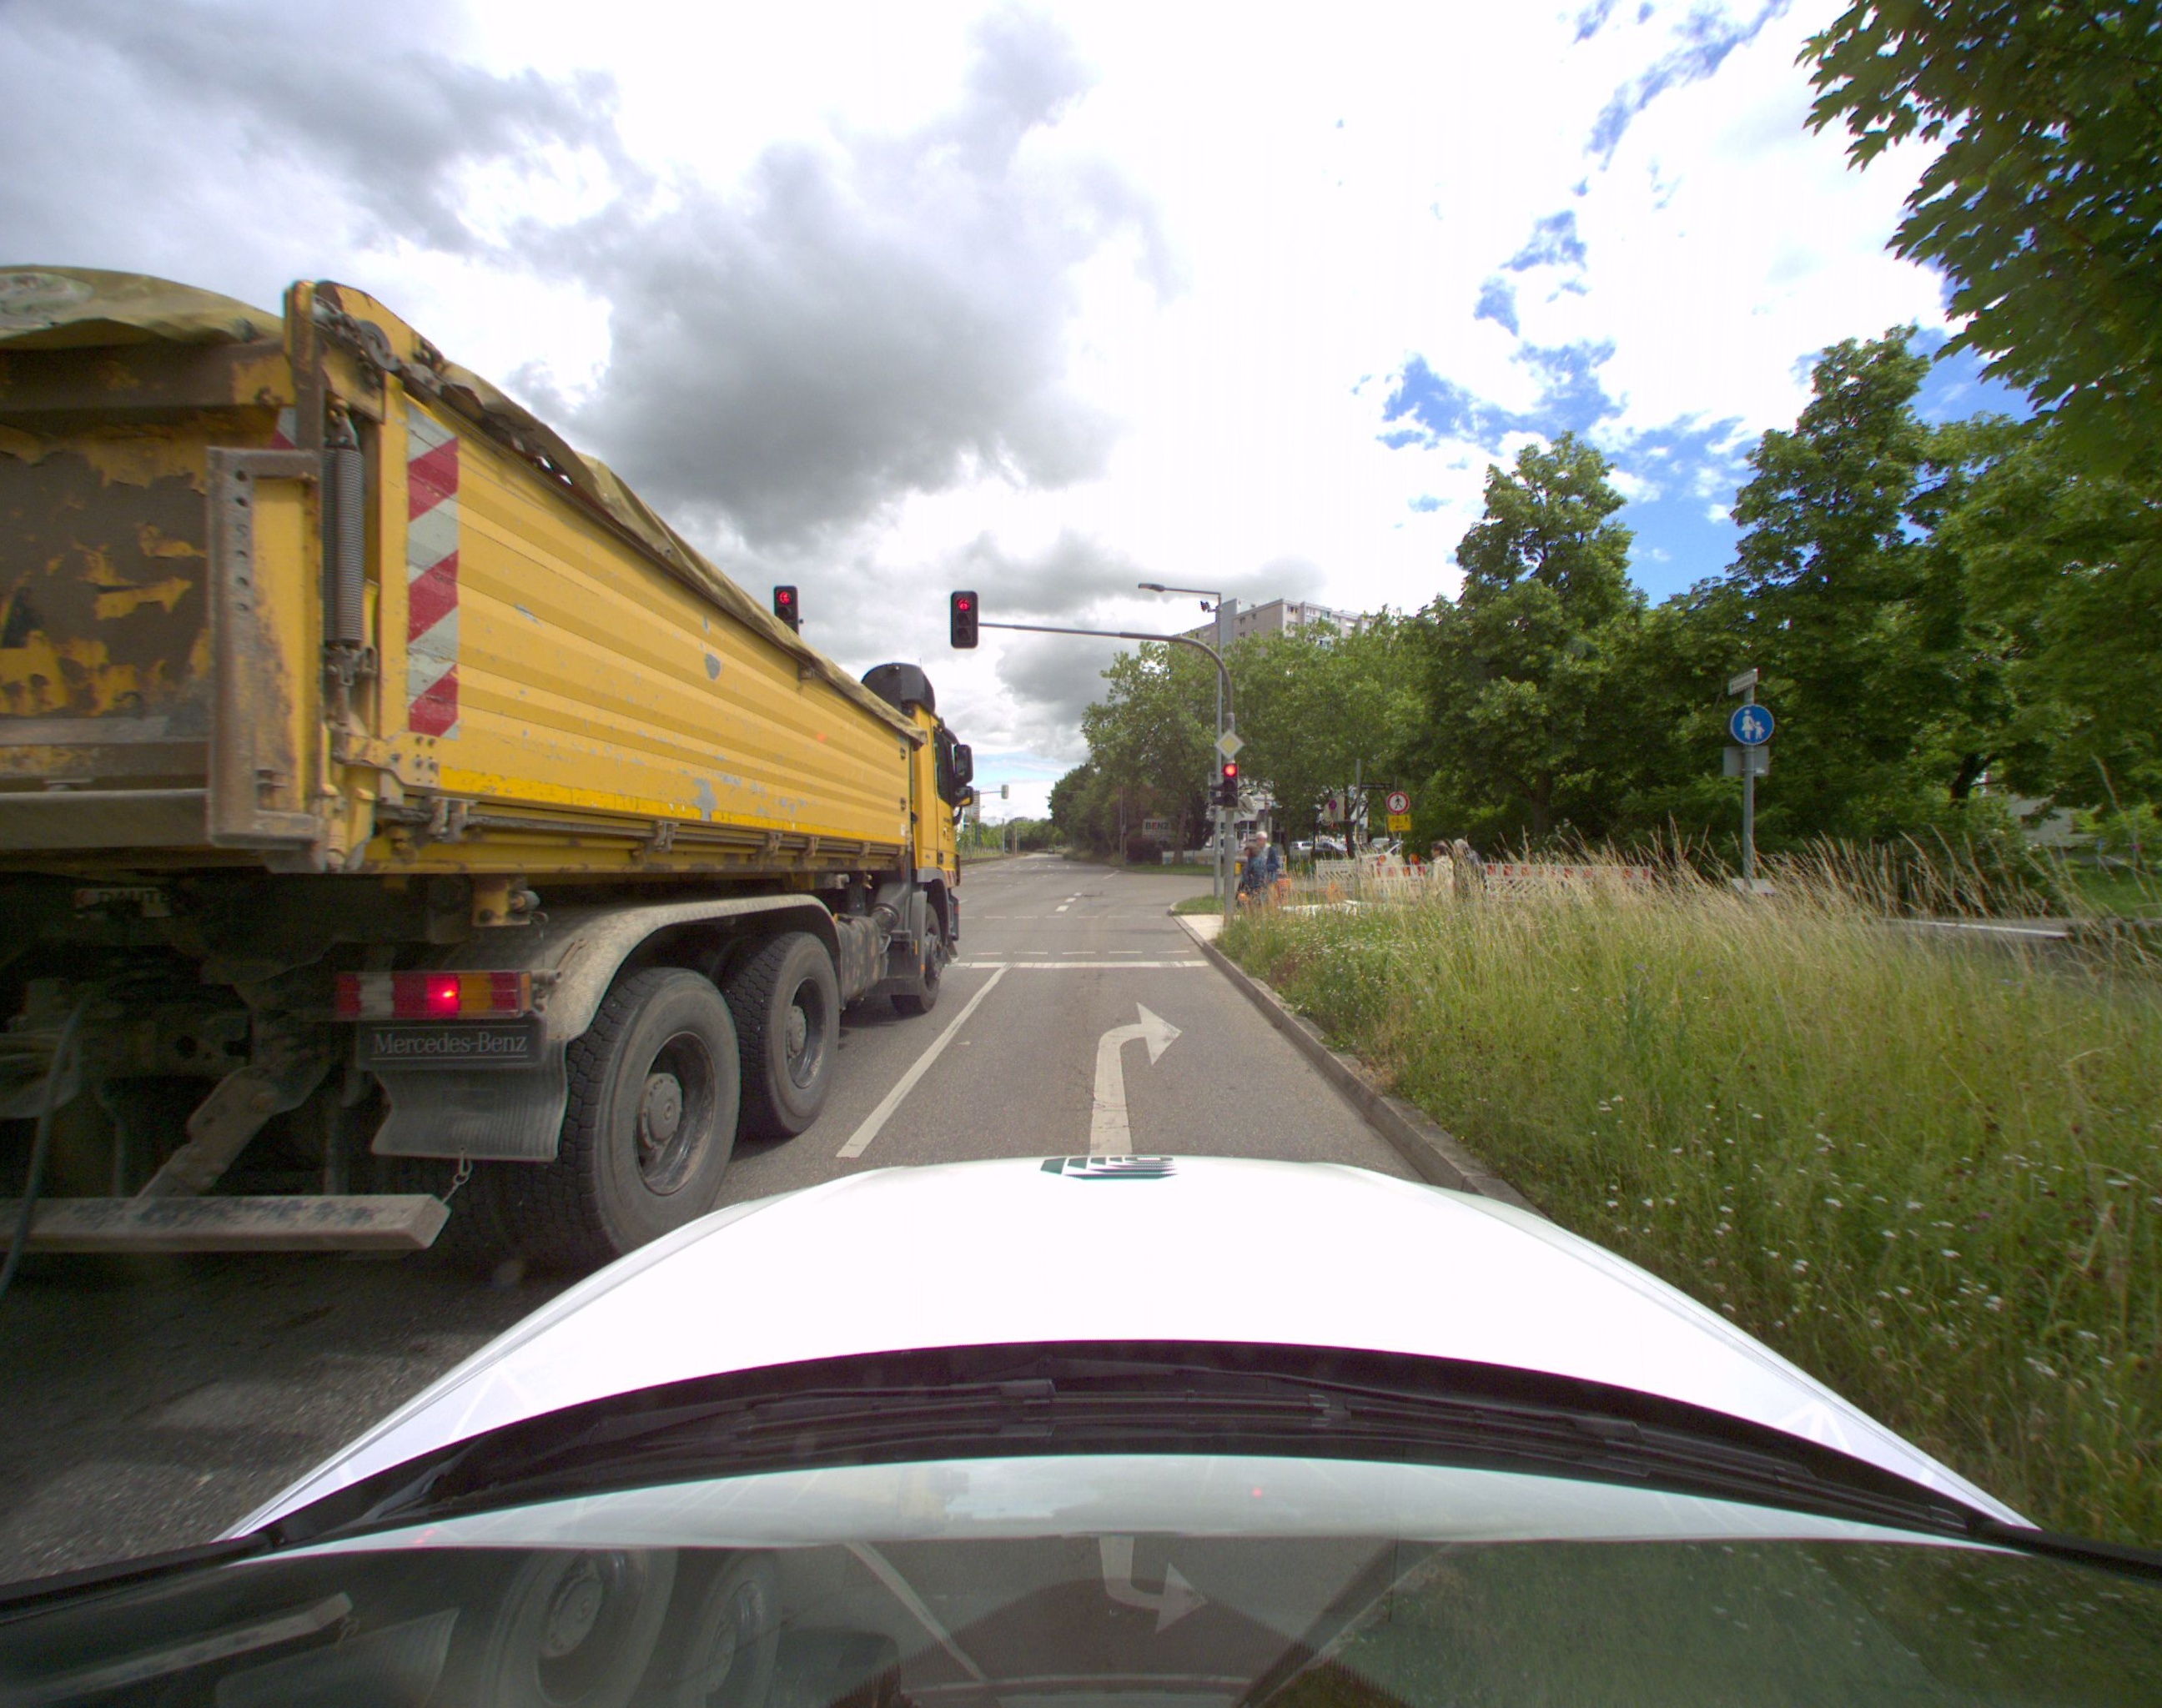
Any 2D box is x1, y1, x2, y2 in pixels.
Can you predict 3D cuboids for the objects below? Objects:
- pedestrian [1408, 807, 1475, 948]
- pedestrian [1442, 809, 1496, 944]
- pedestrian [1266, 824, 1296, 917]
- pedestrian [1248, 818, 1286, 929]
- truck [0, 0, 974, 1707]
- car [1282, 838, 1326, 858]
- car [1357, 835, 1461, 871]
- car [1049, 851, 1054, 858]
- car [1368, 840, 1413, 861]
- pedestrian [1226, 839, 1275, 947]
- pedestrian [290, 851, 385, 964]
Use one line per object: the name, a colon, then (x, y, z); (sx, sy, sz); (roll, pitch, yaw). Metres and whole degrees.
pedestrian: (5.285, 0.330, 11.972); (0.671, 2.014, 0.633); (0, 0, -8)
pedestrian: (5.888, 0.332, 12.359); (0.560, 2.014, 0.490); (0, 0, -8)
pedestrian: (4.375, 0.360, 17.861); (0.499, 2.014, 0.490); (0, 0, -8)
pedestrian: (3.467, 0.357, 15.178); (0.560, 2.014, 0.490); (0, 0, -8)
truck: (-2.741, -0.143, 5.398); (2.743, 3.313, 8.354); (0, 1, 1)
car: (21.046, -0.560, 76.945); (4.018, 1.783, 1.978); (0, 1, -36)
car: (14.998, -0.054, 37.378); (3.973, 1.607, 2.000); (0, 0, 0)
car: (-8.808, 0.118, 243.574); (1.686, 1.925, 3.996); (0, 1, -3)
car: (28.448, -0.331, 74.764); (4.018, 1.954, 1.978); (0, 1, -36)
pedestrian: (2.675, 0.598, 12.820); (0.621, 1.653, 0.566); (0, 0, 28)
pedestrian: (-11.316, 0.789, 12.418); (0.817, 1.668, 0.684); (0, 0, 2)
